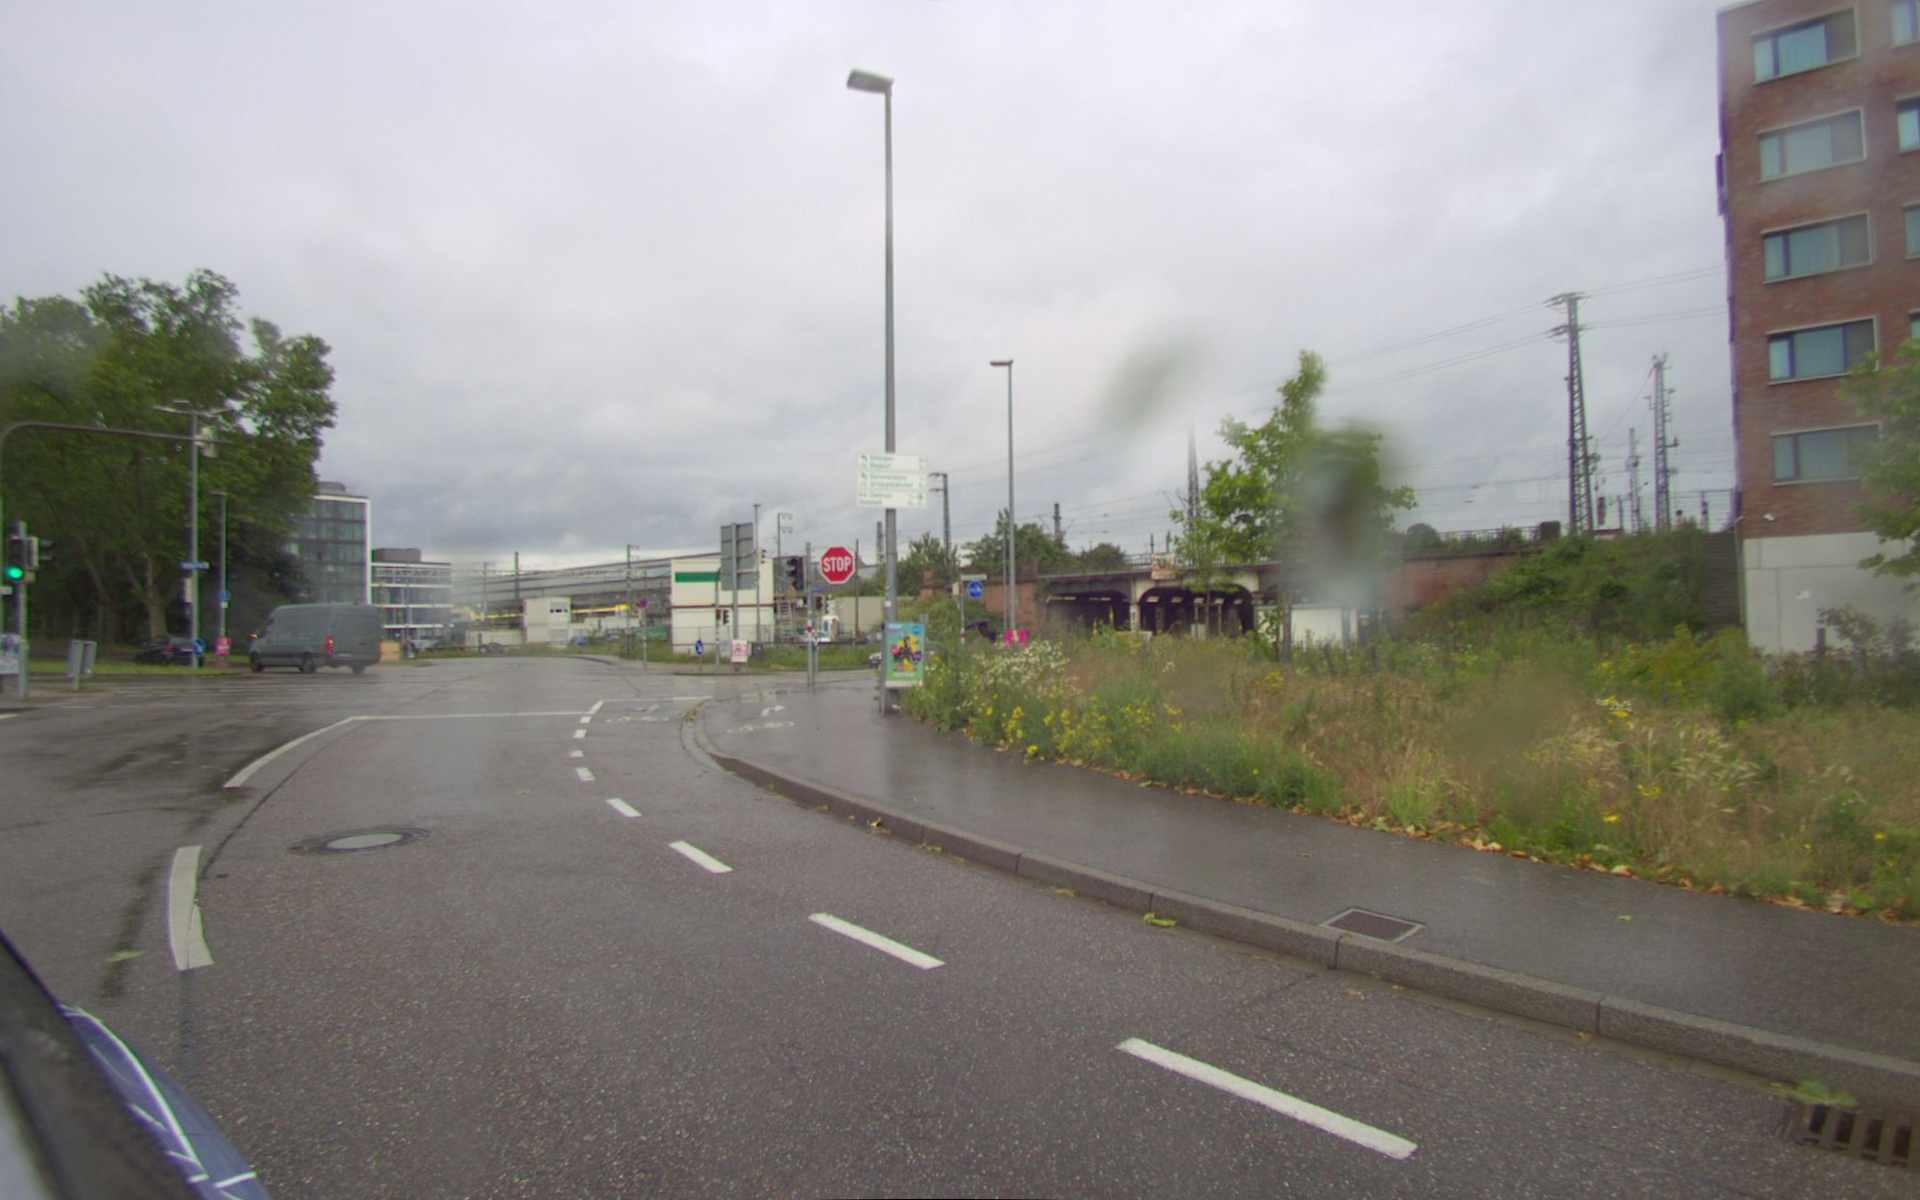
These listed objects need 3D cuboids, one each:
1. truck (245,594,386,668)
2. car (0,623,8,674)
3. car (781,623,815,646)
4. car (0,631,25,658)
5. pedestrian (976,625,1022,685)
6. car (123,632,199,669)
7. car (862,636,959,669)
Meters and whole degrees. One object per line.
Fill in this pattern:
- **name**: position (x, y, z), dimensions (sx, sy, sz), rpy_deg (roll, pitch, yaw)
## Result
- **truck**: position (-24.963, 1.219, 39.079), dimensions (6.960, 2.639, 2.067), rpy_deg (-2, -2, 34)
- **car**: position (-28.494, 1.370, 27.726), dimensions (3.963, 1.392, 1.736), rpy_deg (-1, -1, 15)
- **car**: position (-14.918, 3.166, 93.161), dimensions (1.965, 2.029, 4.013), rpy_deg (0, 0, -27)
- **car**: position (-60.973, 2.834, 63.866), dimensions (3.988, 1.654, 1.978), rpy_deg (-2, -2, 33)
- **pedestrian**: position (1.300, 1.796, 33.435), dimensions (0.918, 1.923, 1.309), rpy_deg (-2, -2, 39)
- **car**: position (-35.577, 2.260, 45.039), dimensions (3.521, 1.463, 1.631), rpy_deg (-5, -5, 34)
- **car**: position (-2.289, 2.451, 47.576), dimensions (4.358, 1.497, 1.736), rpy_deg (2, -3, -37)
